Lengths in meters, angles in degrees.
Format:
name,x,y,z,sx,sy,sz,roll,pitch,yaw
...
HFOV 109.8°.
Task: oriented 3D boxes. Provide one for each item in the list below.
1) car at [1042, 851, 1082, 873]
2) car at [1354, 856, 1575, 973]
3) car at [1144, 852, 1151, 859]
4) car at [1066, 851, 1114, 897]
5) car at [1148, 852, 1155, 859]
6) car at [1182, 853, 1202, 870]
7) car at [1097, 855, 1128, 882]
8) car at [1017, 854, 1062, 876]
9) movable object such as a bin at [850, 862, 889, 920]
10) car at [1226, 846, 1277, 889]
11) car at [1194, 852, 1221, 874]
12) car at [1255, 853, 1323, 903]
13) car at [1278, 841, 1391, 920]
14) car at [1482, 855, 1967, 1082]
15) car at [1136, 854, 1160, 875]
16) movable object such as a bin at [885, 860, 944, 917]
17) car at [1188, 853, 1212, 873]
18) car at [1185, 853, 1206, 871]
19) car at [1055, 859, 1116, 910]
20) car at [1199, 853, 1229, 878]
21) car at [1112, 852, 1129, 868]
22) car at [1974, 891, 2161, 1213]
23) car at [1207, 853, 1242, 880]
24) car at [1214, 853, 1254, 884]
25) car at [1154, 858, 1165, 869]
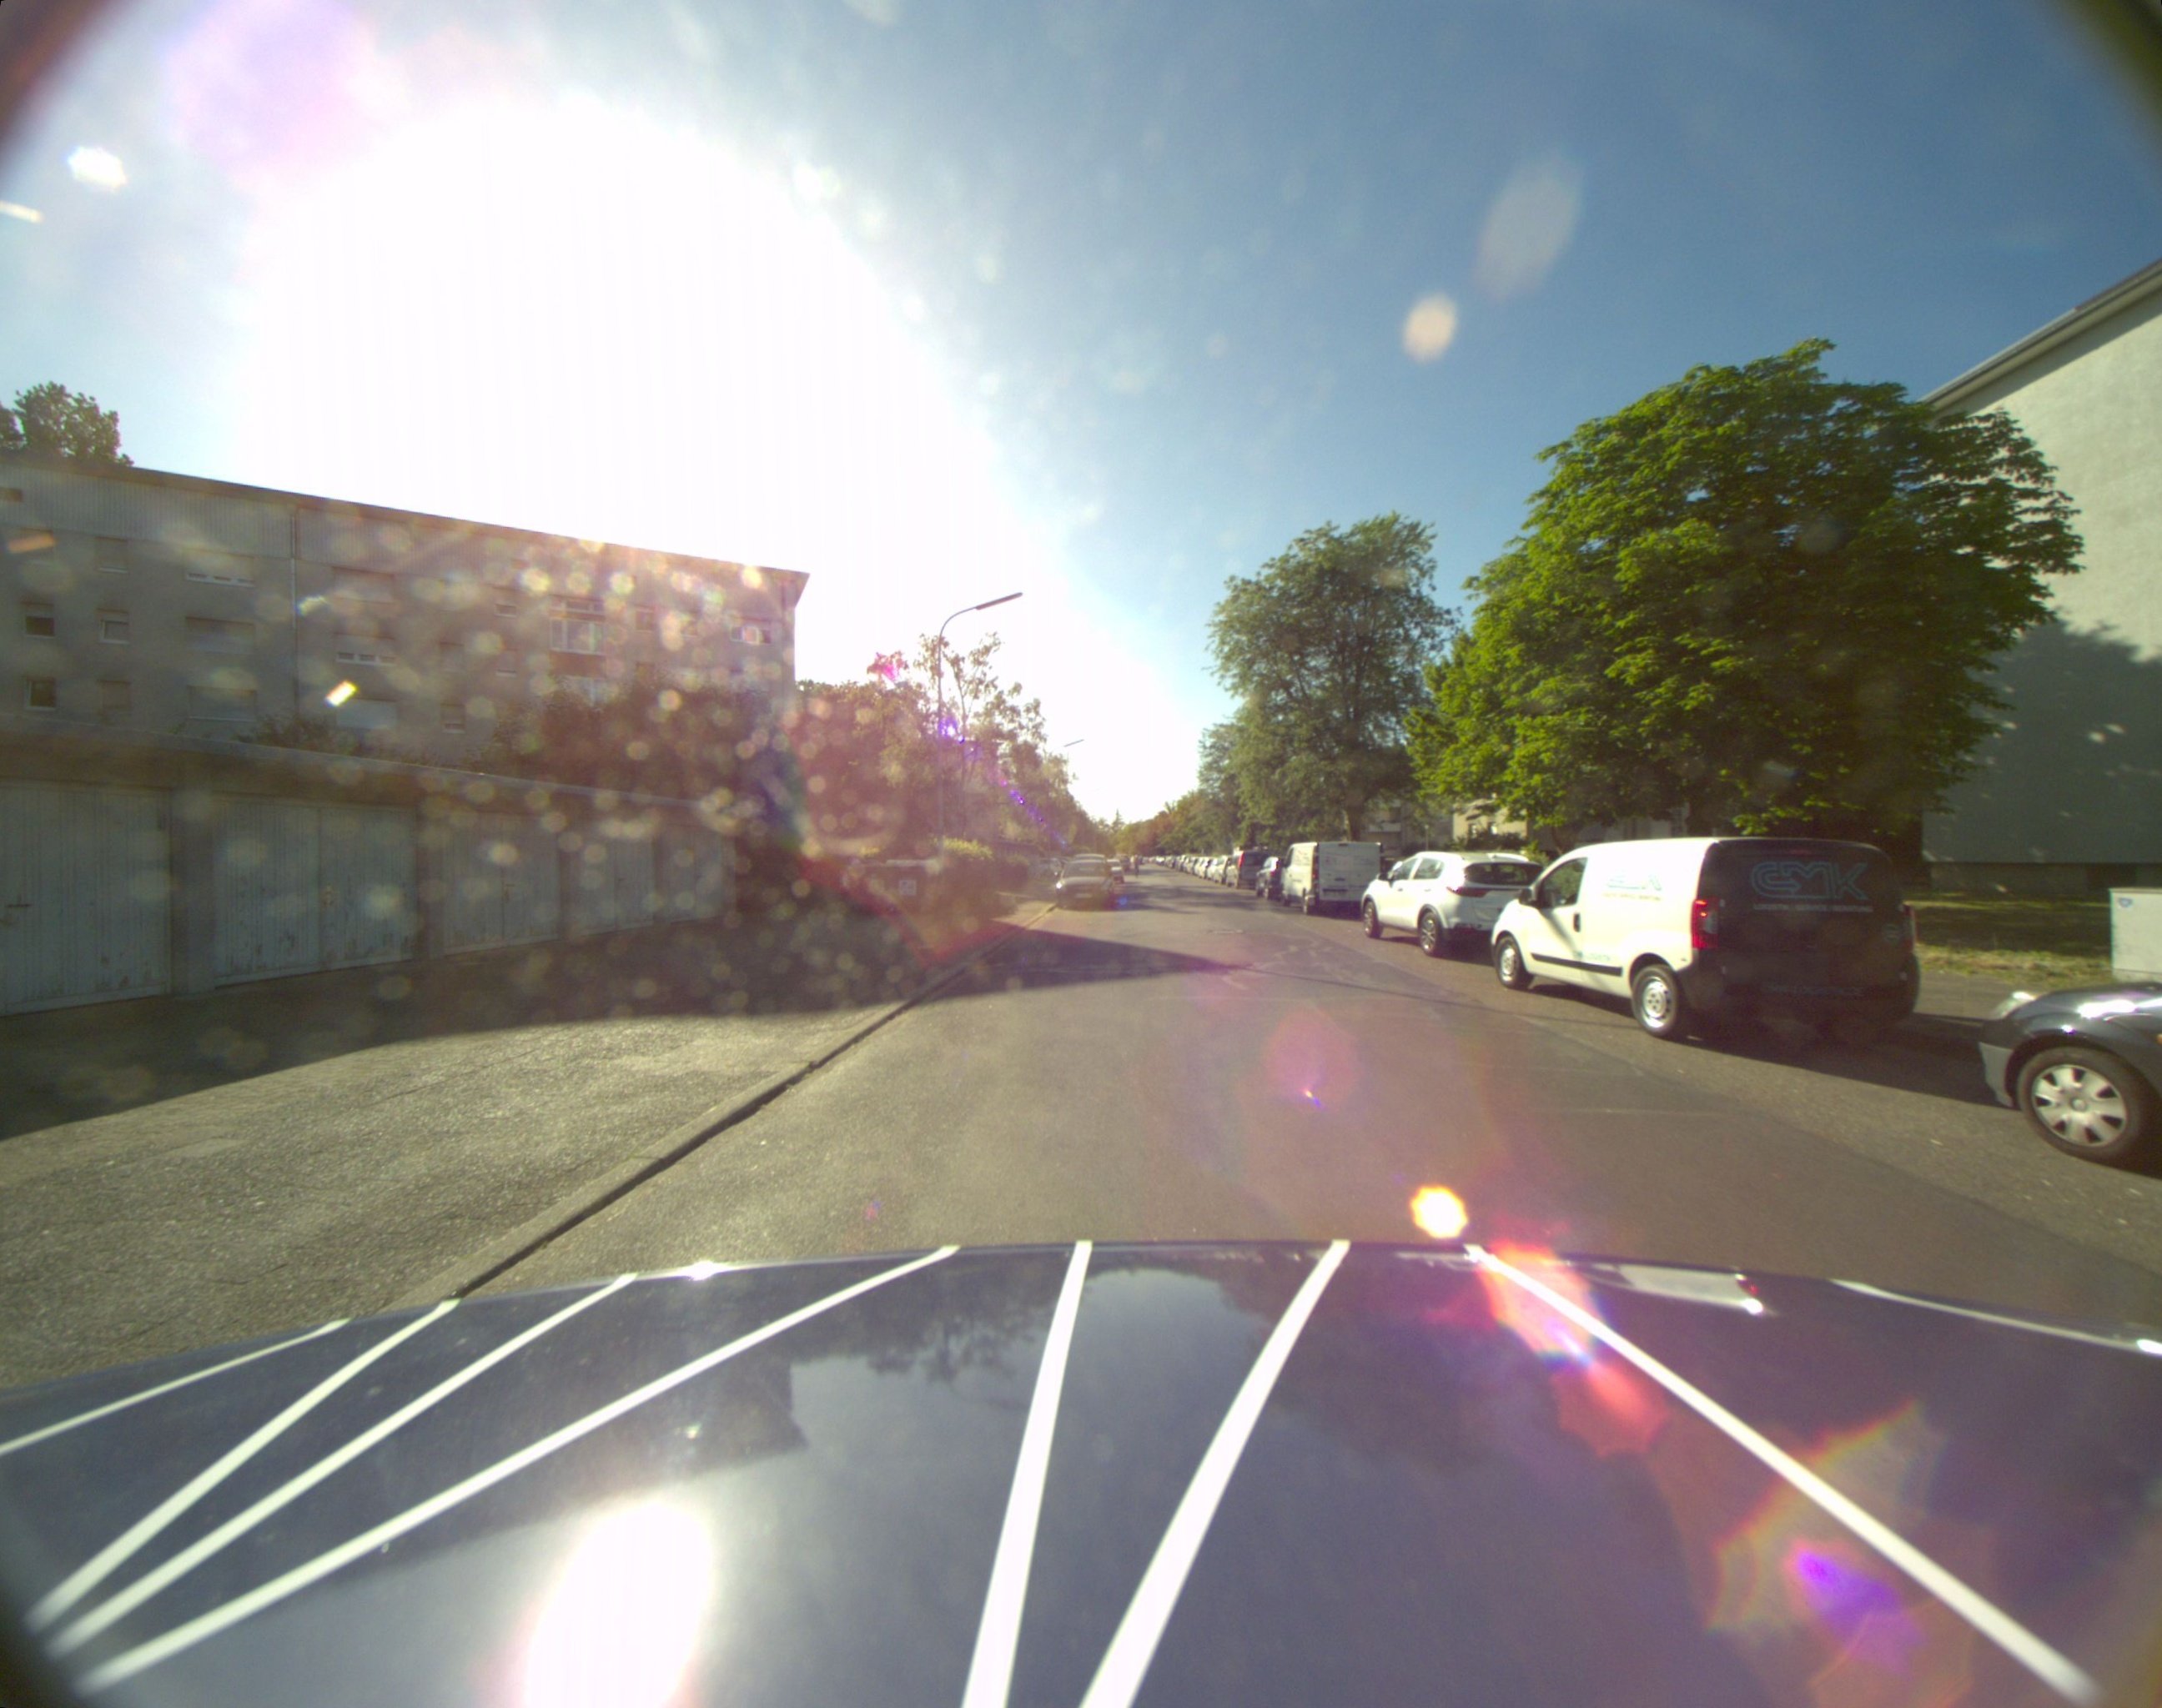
name,x,y,z,sx,sy,sz,roll,pitch,yaw
car,-1.903,0.772,77.442,3.776,2.002,1.811,-3,1,3
car,6.227,0.865,12.951,1.732,1.630,4.170,1,0,2
car,17.145,0.380,196.792,1.632,1.629,3.567,1,0,3
car,0.425,0.793,31.466,1.732,1.743,3.813,-2,0,3
car,17.088,0.439,184.247,1.632,1.619,3.557,1,0,3
car,10.938,0.715,75.253,1.632,1.619,3.557,1,0,3
car,1.975,0.852,46.696,1.732,1.586,3.813,-2,0,3
car,-3.289,0.842,60.328,3.504,1.499,1.602,-3,1,-2
movable object such as a bin,-5.496,0.946,19.811,0.753,1.434,0.848,1,1,2
car,8.135,0.613,36.519,1.732,1.941,3.813,1,0,3
car,9.814,0.691,59.031,1.632,1.619,3.557,1,0,3
car,7.401,0.809,27.377,1.731,1.630,3.814,1,0,6
car,6.895,0.664,21.202,1.909,1.930,4.512,1,0,4
car,5.763,0.855,7.510,1.817,1.672,3.649,0,0,3
car,5.199,0.815,59.518,1.732,1.586,3.813,-2,0,3
movable object such as a bin,-4.417,0.903,20.304,1.277,1.434,1.180,1,1,2
car,10.250,0.734,65.694,1.632,1.619,3.557,1,0,3
car,10.579,0.745,70.360,1.632,1.619,3.557,1,0,3
car,0.221,0.929,24.652,1.732,1.462,3.813,-2,0,3
car,9.301,0.778,53.157,1.632,1.619,3.557,1,0,3
car,4.259,0.622,81.671,1.732,1.586,3.813,-2,0,3
car,5.681,0.936,2.349,1.627,1.428,3.655,1,0,3
car,8.954,0.754,47.630,1.632,1.619,3.557,1,0,3
car,8.453,0.775,42.210,1.632,1.619,3.557,1,0,3
car,13.080,1.580,126.455,1.632,1.619,3.557,1,0,3
